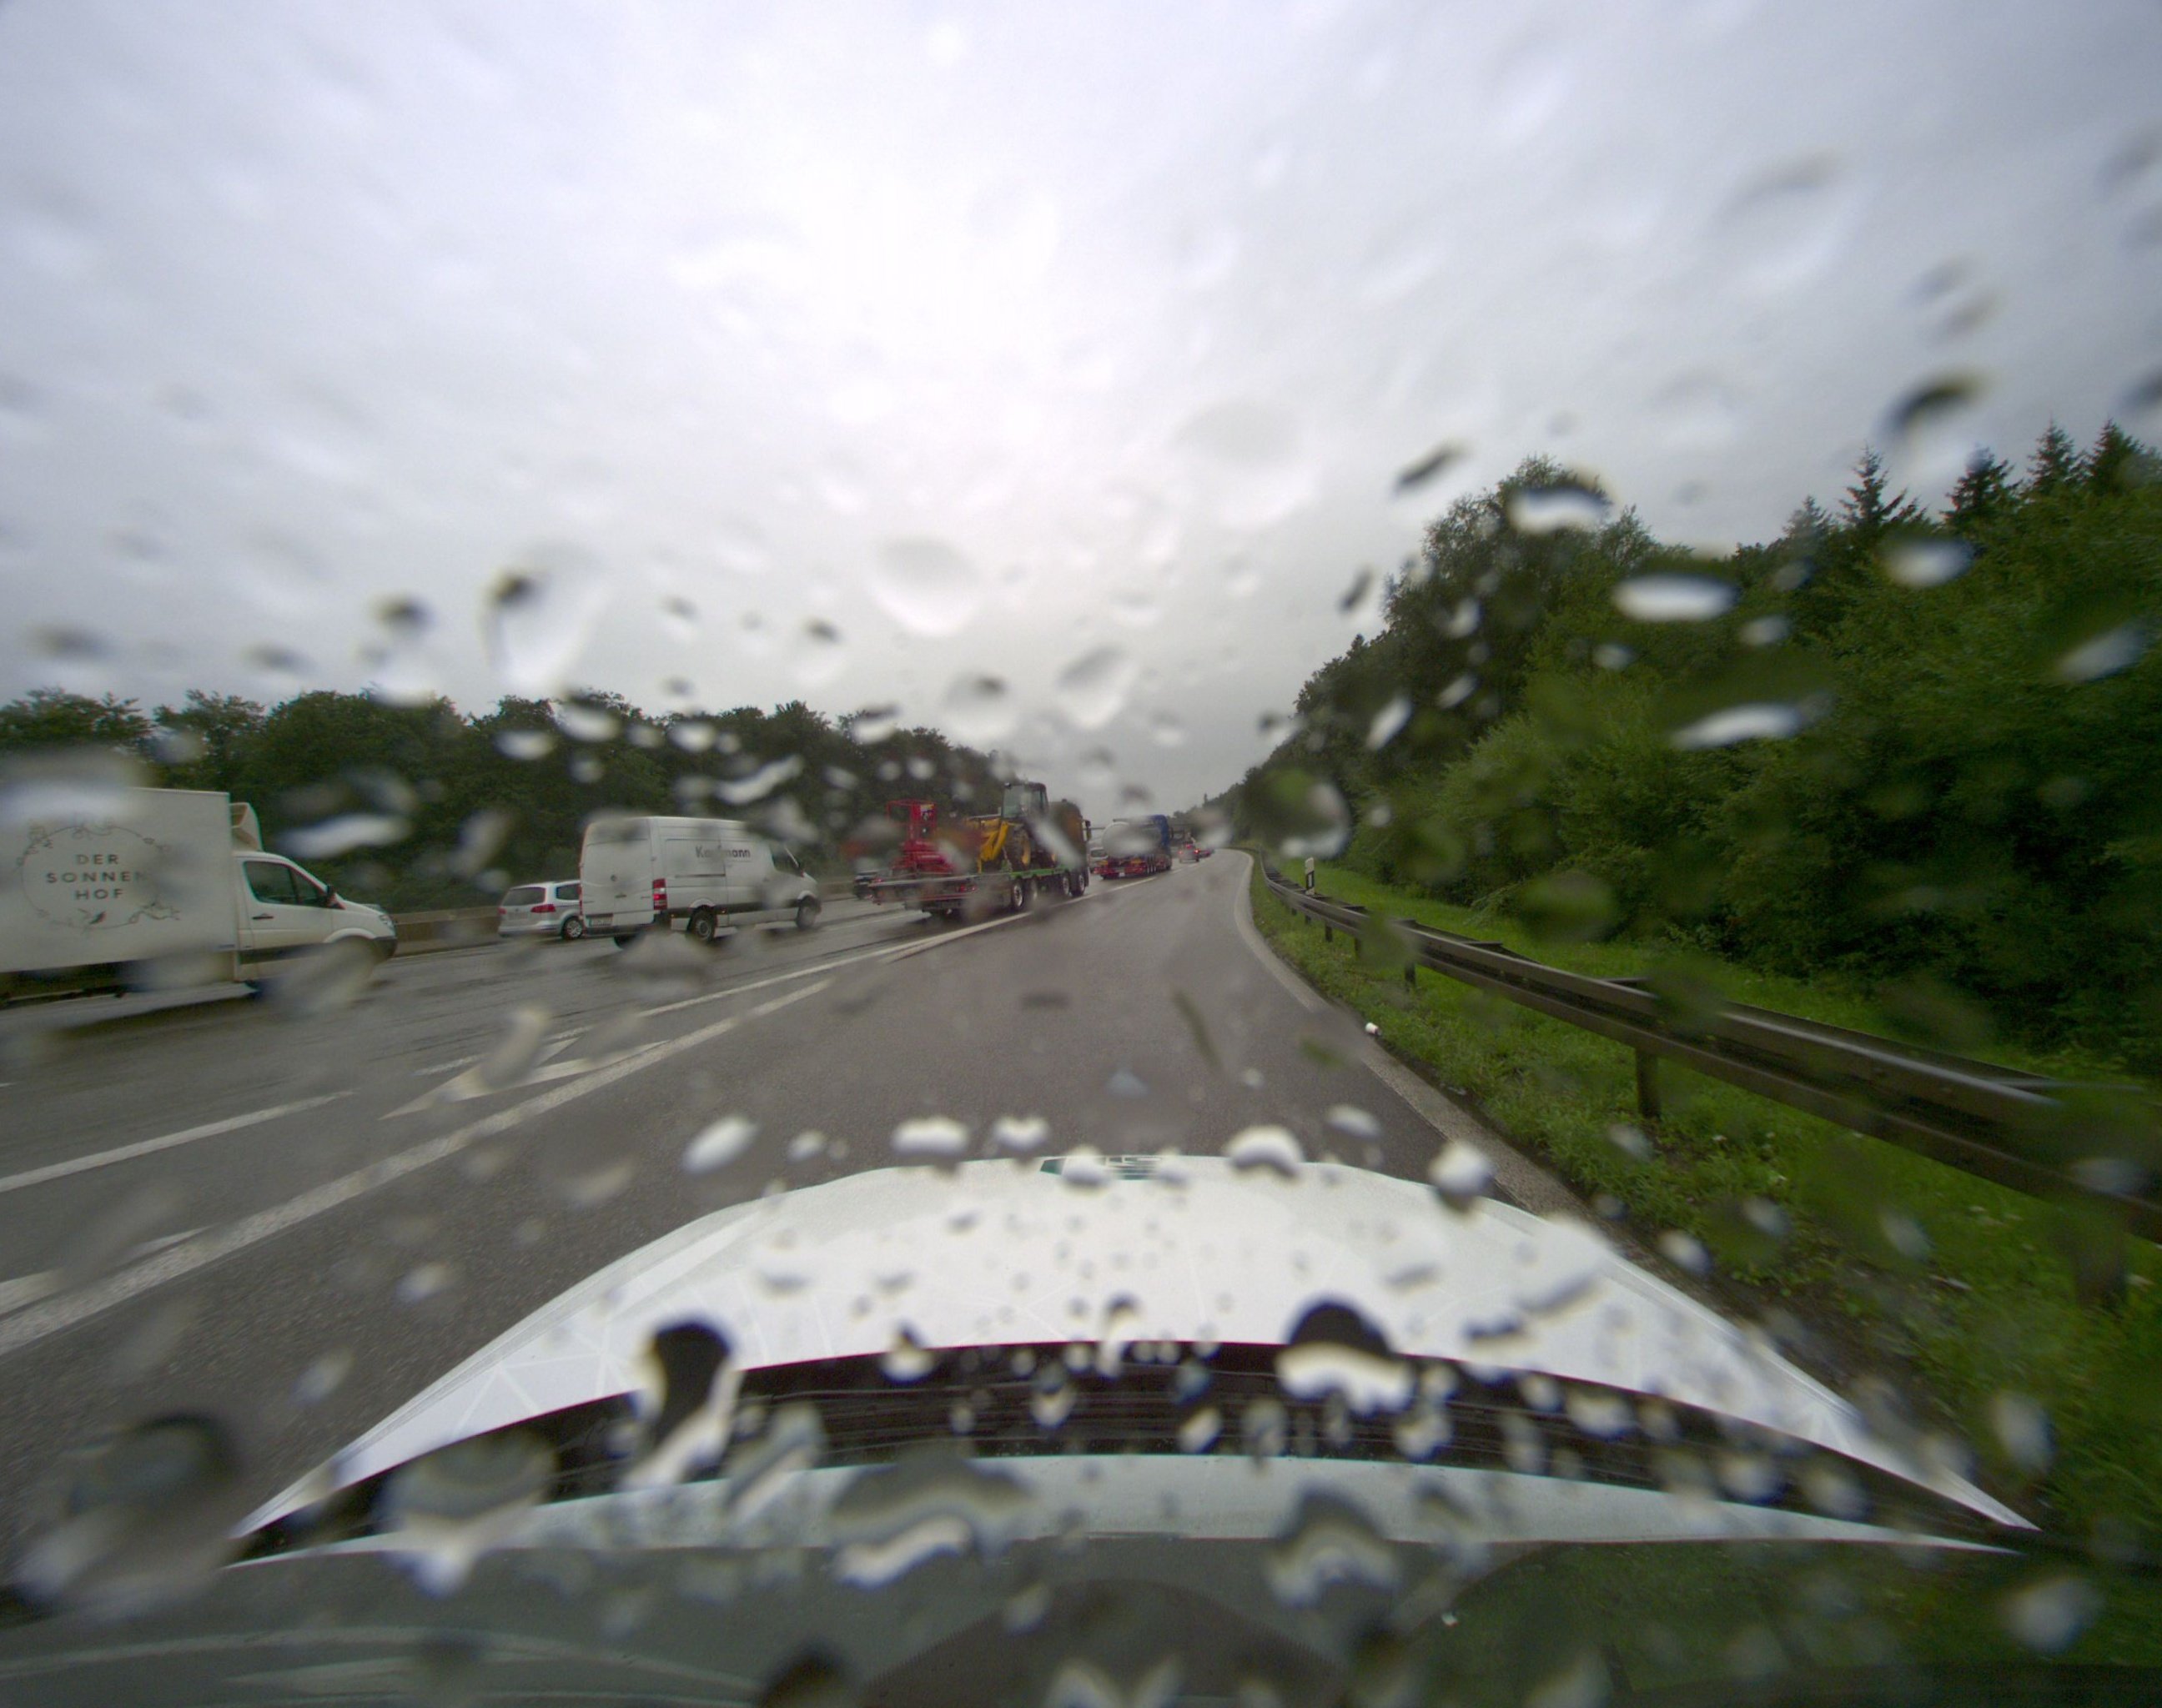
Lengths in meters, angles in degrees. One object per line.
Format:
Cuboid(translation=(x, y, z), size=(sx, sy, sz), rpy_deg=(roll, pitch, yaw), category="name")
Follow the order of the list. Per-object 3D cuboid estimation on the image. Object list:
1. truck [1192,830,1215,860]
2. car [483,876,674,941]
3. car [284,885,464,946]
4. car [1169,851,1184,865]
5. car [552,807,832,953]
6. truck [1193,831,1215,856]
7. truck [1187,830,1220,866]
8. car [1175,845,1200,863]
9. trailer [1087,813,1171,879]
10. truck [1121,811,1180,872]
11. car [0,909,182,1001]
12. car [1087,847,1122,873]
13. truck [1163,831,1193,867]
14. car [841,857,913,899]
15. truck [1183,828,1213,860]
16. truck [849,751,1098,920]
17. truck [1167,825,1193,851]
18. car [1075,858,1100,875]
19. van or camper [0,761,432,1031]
Cuboid(translation=(24.964, -1.702, 165.636), size=(4.310, 5.764, 9.755), rpy_deg=(0, -1, 9), category="truck")
Cuboid(translation=(-14.359, 1.504, 23.648), size=(1.852, 1.522, 4.648), rpy_deg=(-3, -1, 15), category="car")
Cuboid(translation=(-24.132, 2.034, 28.037), size=(1.980, 1.695, 4.280), rpy_deg=(-3, -1, 13), category="car")
Cuboid(translation=(12.964, 0.589, 110.534), size=(1.786, 1.904, 4.011), rpy_deg=(0, -1, 10), category="car")
Cuboid(translation=(-8.170, 0.505, 18.031), size=(2.199, 2.629, 5.867), rpy_deg=(-3, -1, 15), category="car")
Cuboid(translation=(21.823, -1.817, 144.366), size=(3.733, 3.971, 11.083), rpy_deg=(1, -1, 8), category="truck")
Cuboid(translation=(15.594, -0.738, 102.953), size=(3.578, 4.105, 11.592), rpy_deg=(-3, 0, 10), category="truck")
Cuboid(translation=(9.930, 0.025, 75.839), size=(1.981, 1.636, 4.012), rpy_deg=(0, -1, 11), category="car")
Cuboid(translation=(3.027, -0.493, 47.242), size=(2.853, 3.288, 10.117), rpy_deg=(-3, 0, 14), category="trailer")
Cuboid(translation=(4.657, -0.787, 53.763), size=(2.856, 3.693, 5.076), rpy_deg=(-3, 0, 14), category="truck")
Cuboid(translation=(-19.444, 1.851, 14.140), size=(1.731, 1.425, 4.853), rpy_deg=(-3, -1, 15), category="car")
Cuboid(translation=(1.743, 0.423, 58.984), size=(1.807, 1.767, 4.014), rpy_deg=(-2, 0, 12), category="car")
Cuboid(translation=(15.564, -0.712, 129.761), size=(3.730, 5.499, 10.204), rpy_deg=(0, -1, 12), category="truck")
Cuboid(translation=(-10.286, 1.182, 41.370), size=(1.785, 2.014, 4.015), rpy_deg=(0, -1, 14), category="car")
Cuboid(translation=(17.193, -1.336, 118.913), size=(3.483, 4.268, 10.638), rpy_deg=(0, -1, 13), category="truck")
Cuboid(translation=(-2.343, -0.426, 23.974), size=(2.810, 3.588, 11.844), rpy_deg=(-4, -1, 15), category="truck")
Cuboid(translation=(17.850, -2.724, 146.536), size=(3.553, 4.095, 10.913), rpy_deg=(-3, -2, 11), category="truck")
Cuboid(translation=(0.739, 1.387, 90.918), size=(1.980, 1.772, 4.148), rpy_deg=(-2, -1, 11), category="car")
Cuboid(translation=(-13.720, 0.552, 11.316), size=(2.561, 3.204, 7.158), rpy_deg=(-3, -1, 14), category="van or camper")
